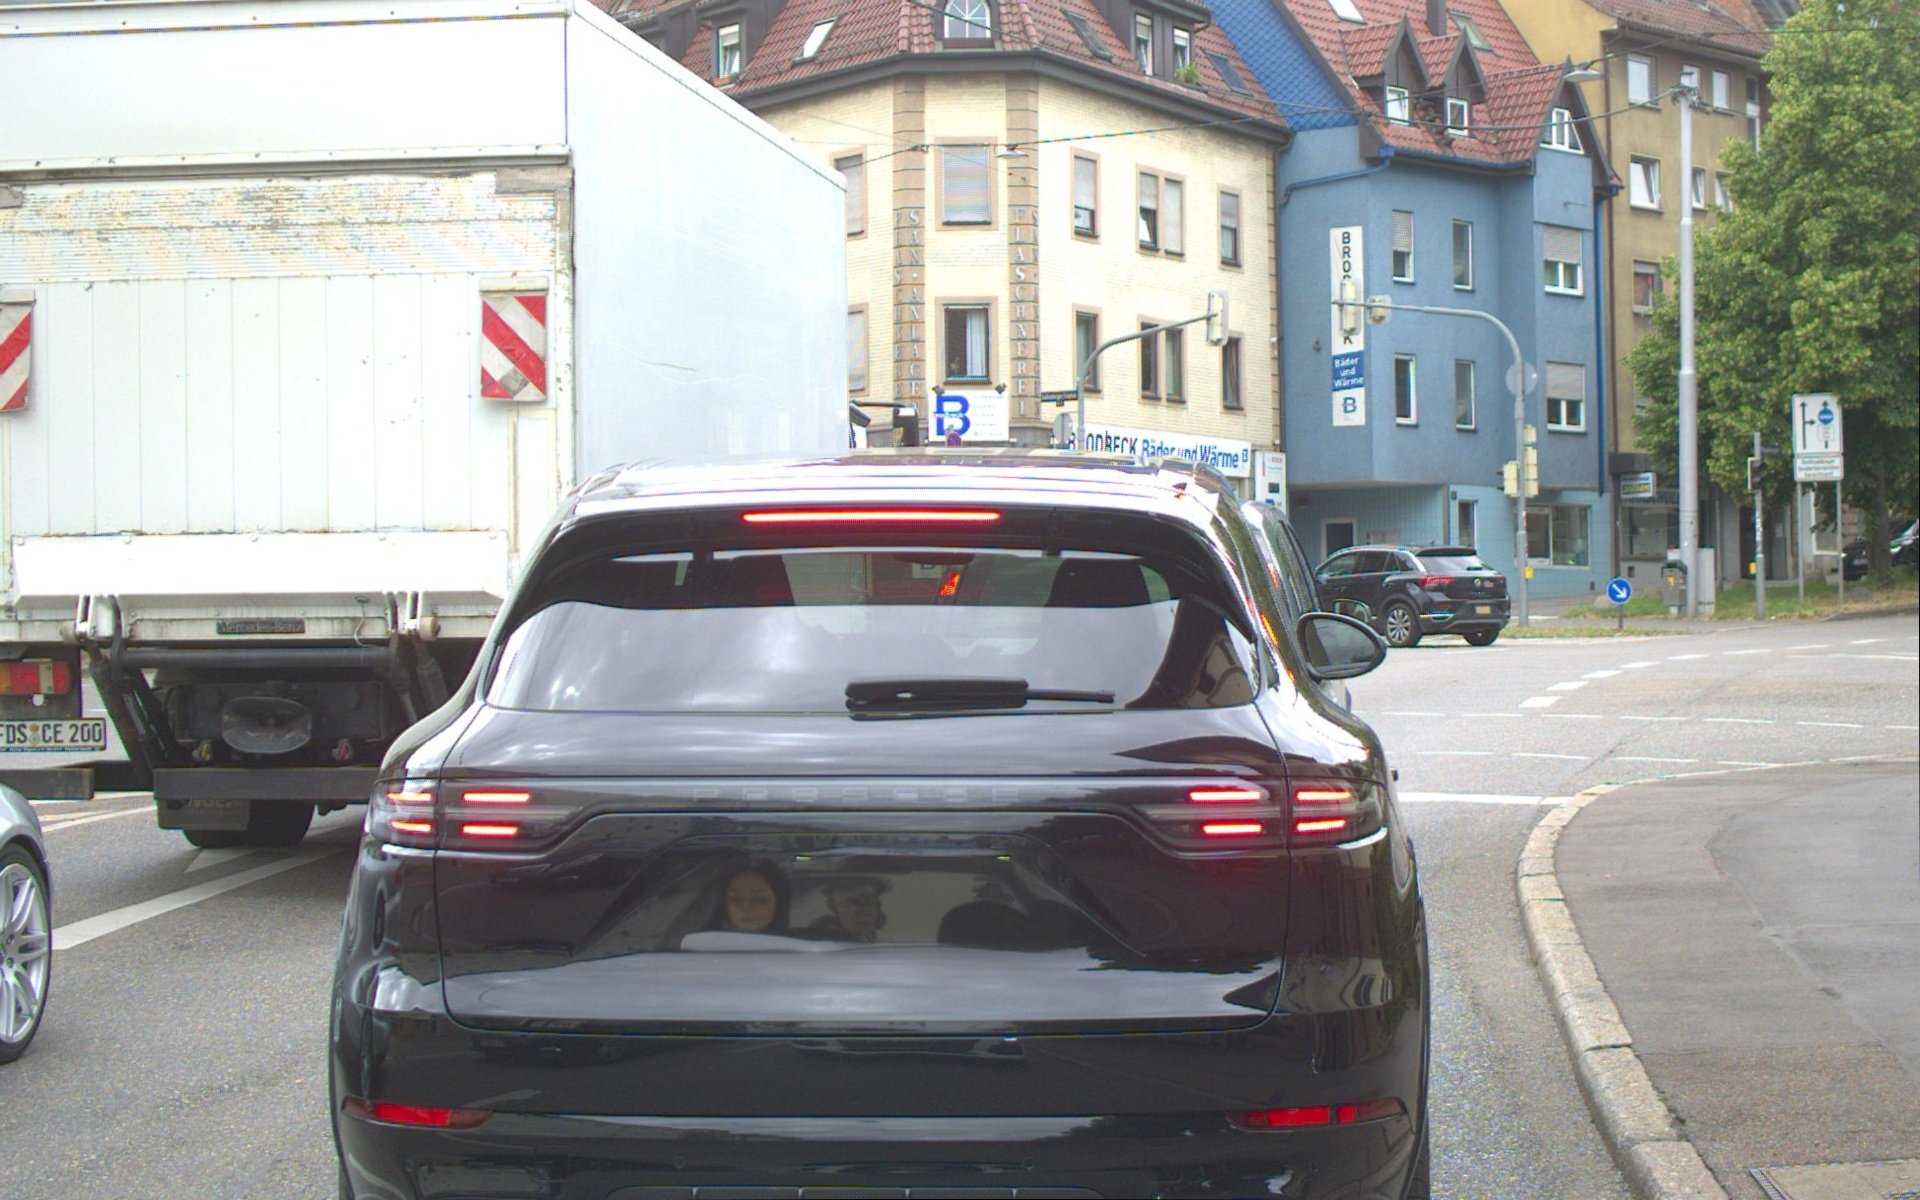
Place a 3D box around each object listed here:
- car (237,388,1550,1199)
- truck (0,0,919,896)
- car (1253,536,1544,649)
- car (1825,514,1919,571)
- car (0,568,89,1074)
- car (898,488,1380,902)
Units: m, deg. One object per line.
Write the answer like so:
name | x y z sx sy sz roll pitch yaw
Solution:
car | -0.132 0.510 7.614 2.031 1.717 4.500 1 1 -1
truck | -2.214 -0.714 17.327 2.726 3.532 8.419 -1 1 8
car | 6.425 -0.134 50.710 1.994 1.525 3.999 0 2 -38
car | 24.161 -1.463 88.225 1.874 1.411 4.687 1 1 41
car | -3.502 0.641 8.045 1.629 1.360 4.128 -1 1 4
car | 0.885 0.349 14.774 1.649 1.550 3.581 0 0 10
